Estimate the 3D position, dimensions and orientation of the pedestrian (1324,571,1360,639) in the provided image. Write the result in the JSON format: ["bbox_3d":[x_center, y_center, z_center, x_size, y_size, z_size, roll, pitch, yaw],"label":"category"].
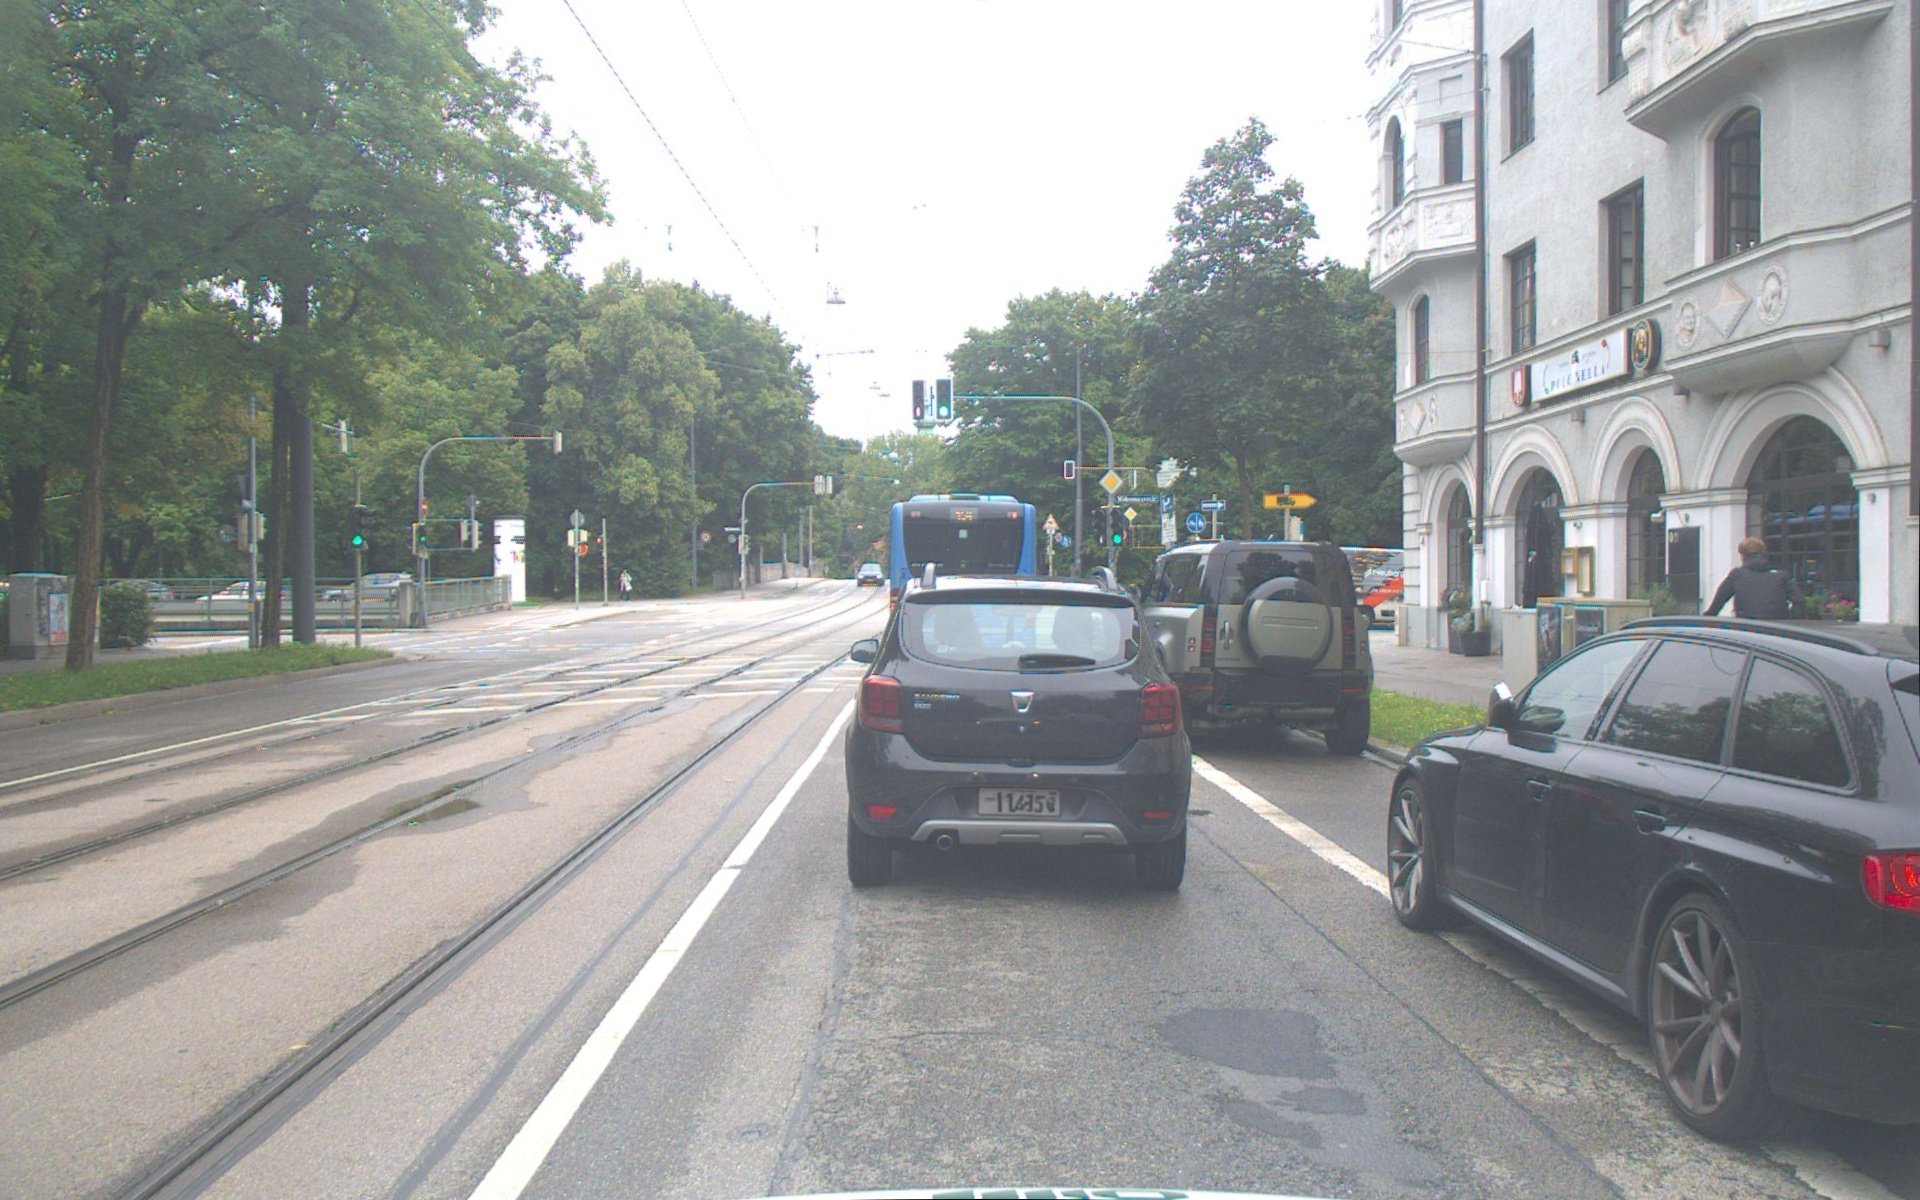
[{"bbox_3d":[10.072,0.125,43.641,0.690,1.762,0.843,1,0,-1],"label":"pedestrian"}]

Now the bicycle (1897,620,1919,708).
[{"bbox_3d":[10.455,0.695,17.780,0.254,0.947,0.886,1,0,0],"label":"bicycle"}]

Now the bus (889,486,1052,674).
[{"bbox_3d":[0.032,-0.353,30.897,2.625,3.050,6.957,1,0,-3],"label":"bus"}]

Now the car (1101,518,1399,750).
[{"bbox_3d":[2.683,0.280,16.512,1.876,1.939,4.805,1,0,-3],"label":"car"}]

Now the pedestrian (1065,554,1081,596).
[{"bbox_3d":[5.921,-1.310,86.593,0.747,2.153,0.853,0,1,-1],"label":"pedestrian"}]

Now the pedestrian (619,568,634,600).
[{"bbox_3d":[-16.184,-0.787,80.266,0.520,1.527,0.588,1,0,4],"label":"pedestrian"}]

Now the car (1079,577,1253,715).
[{"bbox_3d":[2.622,0.540,21.918,1.679,1.619,4.326,1,0,-1],"label":"car"}]

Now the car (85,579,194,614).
[{"bbox_3d":[-35.620,-0.154,71.884,3.848,1.429,1.719,1,0,-5],"label":"car"}]

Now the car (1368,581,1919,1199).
[{"bbox_3d":[2.916,0.692,5.868,1.681,1.451,4.601,1,0,-1],"label":"car"}]

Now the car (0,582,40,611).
[{"bbox_3d":[-41.924,-0.167,71.354,3.656,1.206,1.249,1,0,-6],"label":"car"}]

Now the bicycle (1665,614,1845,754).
[{"bbox_3d":[6.950,0.699,14.560,0.567,1.097,1.911,-2,0,-2],"label":"bicycle"}]

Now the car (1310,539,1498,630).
[{"bbox_3d":[13.831,-0.466,51.714,5.191,2.658,2.229,1,0,-4],"label":"car"}]

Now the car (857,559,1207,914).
[{"bbox_3d":[0.292,0.617,9.313,1.568,1.584,3.524,1,0,-1],"label":"car"}]

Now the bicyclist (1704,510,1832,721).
[{"bbox_3d":[6.975,0.128,14.312,0.709,1.759,0.726,1,0,-2],"label":"bicyclist"}]

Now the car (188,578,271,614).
[{"bbox_3d":[-31.862,-0.184,72.202,3.050,1.477,1.249,1,0,-6],"label":"car"}]

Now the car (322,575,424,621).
[{"bbox_3d":[-25.869,-0.091,72.962,3.946,1.920,1.488,1,0,-8],"label":"car"}]

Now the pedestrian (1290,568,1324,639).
[{"bbox_3d":[9.252,0.085,44.139,0.690,1.848,0.869,1,0,-1],"label":"pedestrian"}]

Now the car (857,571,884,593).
[{"bbox_3d":[-6.005,-1.201,111.537,1.752,1.394,3.399,1,0,-2],"label":"car"}]
